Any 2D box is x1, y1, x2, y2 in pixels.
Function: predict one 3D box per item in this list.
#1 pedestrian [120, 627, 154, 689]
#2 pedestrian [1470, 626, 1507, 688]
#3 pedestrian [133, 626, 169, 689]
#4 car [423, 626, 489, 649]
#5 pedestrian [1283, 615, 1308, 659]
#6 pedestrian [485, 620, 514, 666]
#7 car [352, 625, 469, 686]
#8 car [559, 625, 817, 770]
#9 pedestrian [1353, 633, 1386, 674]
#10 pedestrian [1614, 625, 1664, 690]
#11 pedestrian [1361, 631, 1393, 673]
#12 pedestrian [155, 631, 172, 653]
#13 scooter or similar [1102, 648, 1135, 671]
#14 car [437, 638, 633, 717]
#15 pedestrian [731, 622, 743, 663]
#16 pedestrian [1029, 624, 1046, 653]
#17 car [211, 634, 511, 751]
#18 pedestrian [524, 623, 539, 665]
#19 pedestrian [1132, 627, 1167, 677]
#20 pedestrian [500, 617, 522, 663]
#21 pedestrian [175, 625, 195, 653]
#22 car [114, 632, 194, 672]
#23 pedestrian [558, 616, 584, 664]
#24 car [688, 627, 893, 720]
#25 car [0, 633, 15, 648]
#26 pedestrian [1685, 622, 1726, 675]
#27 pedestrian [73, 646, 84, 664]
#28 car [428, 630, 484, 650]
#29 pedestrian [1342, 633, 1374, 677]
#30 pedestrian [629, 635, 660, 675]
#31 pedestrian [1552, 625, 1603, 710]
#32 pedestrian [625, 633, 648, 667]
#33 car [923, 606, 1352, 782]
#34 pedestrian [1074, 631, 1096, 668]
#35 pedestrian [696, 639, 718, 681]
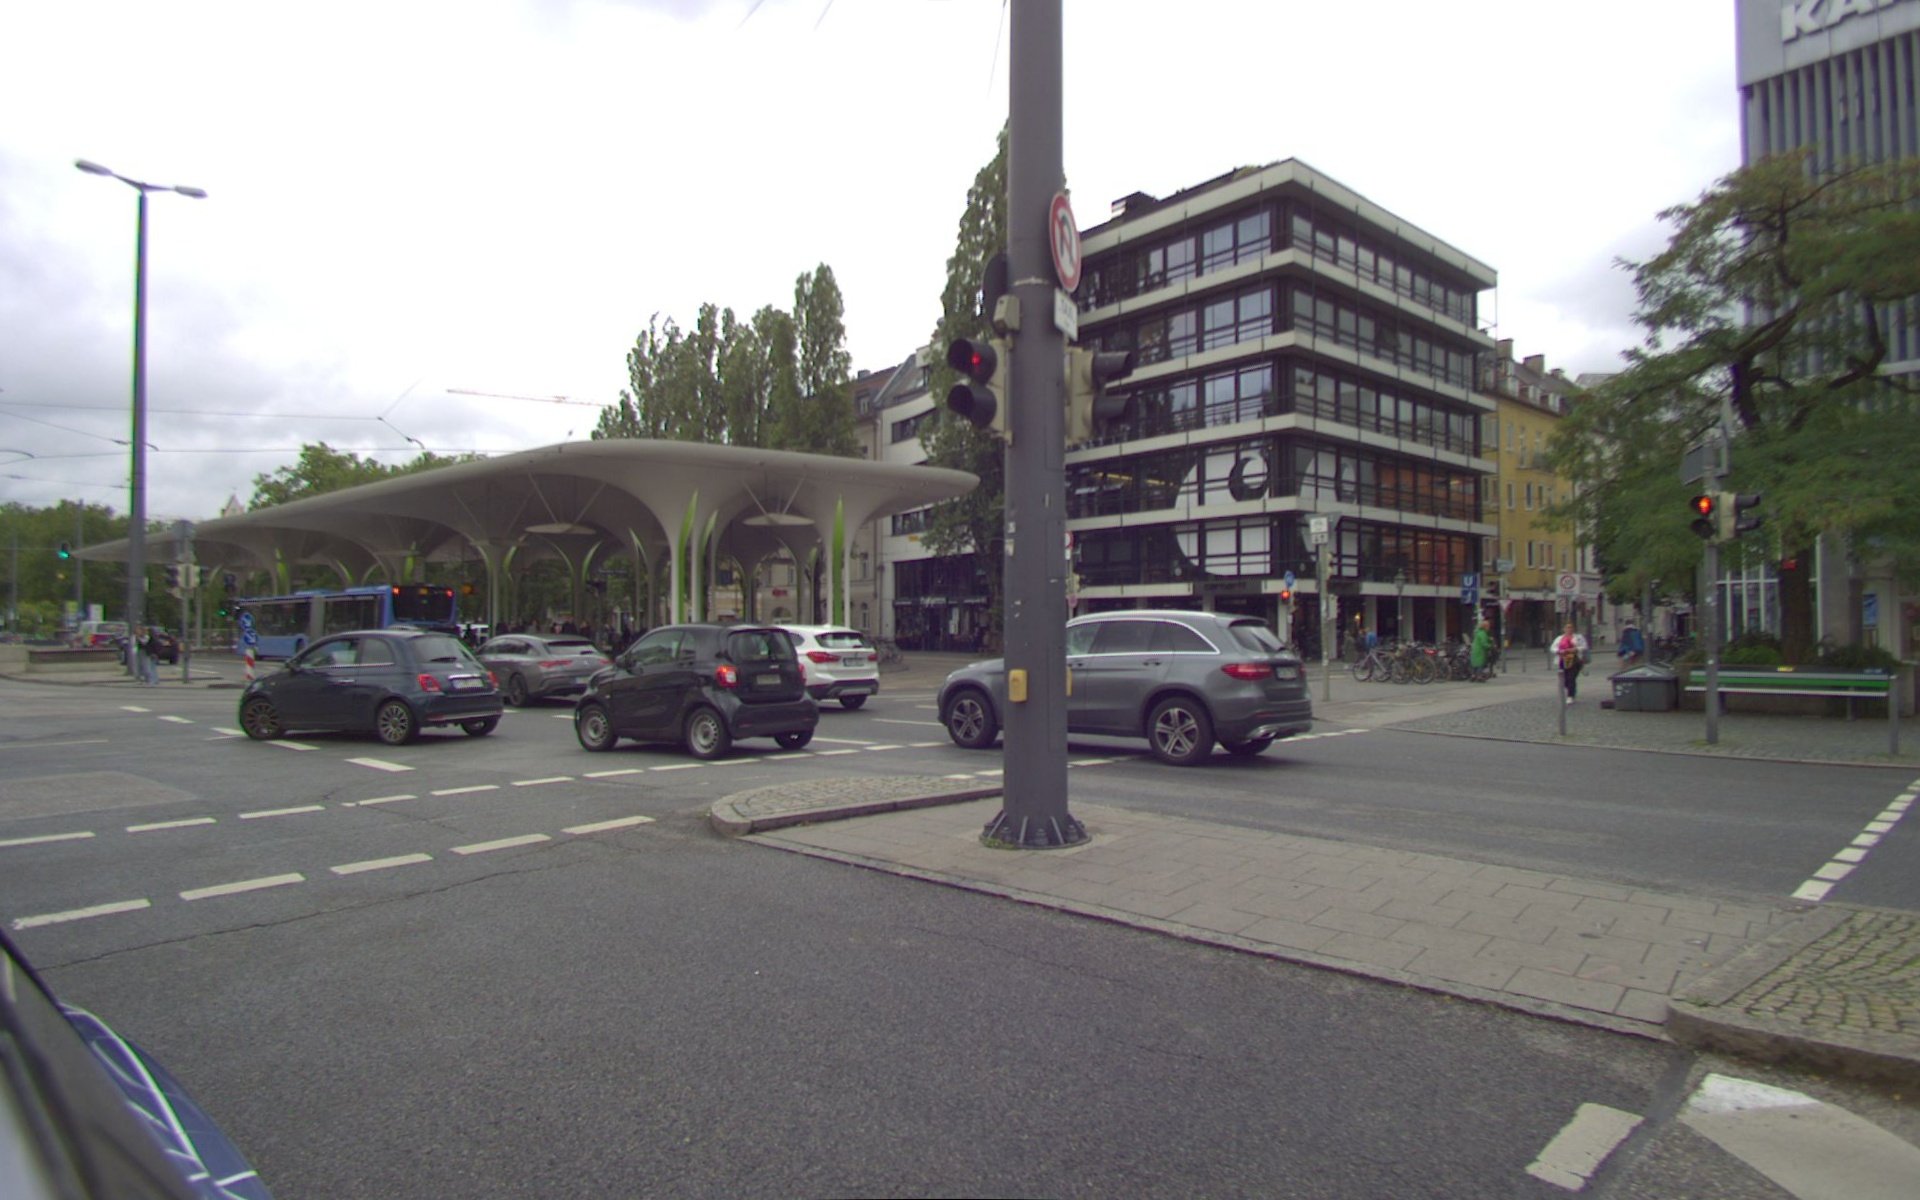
[{"bbox_3d":[-21.623,1.516,26.585,0.514,1.631,0.464,0,-2,-6],"label":"pedestrian"},{"bbox_3d":[14.168,1.515,27.149,0.805,1.631,0.834,-1,-2,26],"label":"pedestrian"},{"bbox_3d":[-21.218,1.503,26.552,0.551,1.631,0.486,-1,-2,6],"label":"pedestrian"},{"bbox_3d":[-44.123,3.286,88.634,4.852,1.962,1.874,1,-2,-39],"label":"car"},{"bbox_3d":[15.842,1.737,47.777,0.914,2.029,0.827,-1,-2,30],"label":"pedestrian"},{"bbox_3d":[-17.081,1.571,37.540,0.739,1.687,0.630,-1,-1,5],"label":"pedestrian"},{"bbox_3d":[-16.287,1.595,29.917,3.998,1.674,1.764,-2,-2,41],"label":"car"},{"bbox_3d":[-3.291,1.092,12.184,2.828,1.546,1.492,-2,-2,32],"label":"car"},{"bbox_3d":[16.088,2.094,39.784,0.730,1.600,0.951,1,-2,-38],"label":"pedestrian"},{"bbox_3d":[18.119,1.533,27.023,0.855,1.700,0.784,-1,-2,17],"label":"pedestrian"},{"bbox_3d":[16.691,2.071,40.525,0.789,1.666,0.854,1,-2,-38],"label":"pedestrian"},{"bbox_3d":[-61.190,3.228,77.786,0.737,1.641,0.734,-1,-2,20],"label":"pedestrian"},{"bbox_3d":[6.931,2.608,44.323,1.384,0.989,0.414,0,-2,1],"label":"scooter or similar"},{"bbox_3d":[-8.750,1.515,20.735,4.162,1.422,1.974,-2,-2,39],"label":"car"},{"bbox_3d":[-10.636,2.030,48.277,0.418,1.947,0.481,-1,-2,12],"label":"pedestrian"},{"bbox_3d":[4.249,2.096,55.302,0.585,1.604,0.674,1,-2,-39],"label":"pedestrian"},{"bbox_3d":[-8.158,1.213,13.849,3.507,1.457,1.542,-1,-3,16],"label":"car"},{"bbox_3d":[-16.468,1.688,38.876,0.511,1.600,0.482,0,-2,-19],"label":"pedestrian"},{"bbox_3d":[6.377,1.746,34.033,0.845,1.654,0.790,1,-2,-45],"label":"pedestrian"},{"bbox_3d":[-17.091,1.530,38.545,0.693,1.724,0.759,0,-2,-19],"label":"pedestrian"},{"bbox_3d":[-51.136,2.566,66.760,0.802,1.853,0.663,-1,-2,11],"label":"pedestrian"},{"bbox_3d":[-32.725,2.065,41.049,4.277,1.520,1.648,-2,-2,39],"label":"car"},{"bbox_3d":[-14.900,1.522,38.769,0.793,1.831,0.707,1,-2,-34],"label":"pedestrian"},{"bbox_3d":[-3.327,1.371,19.496,3.996,1.608,1.681,-2,-4,40],"label":"car"},{"bbox_3d":[-97.142,4.078,102.303,4.230,1.537,1.841,-2,-3,40],"label":"car"},{"bbox_3d":[24.042,1.540,32.630,0.789,1.666,0.854,1,-2,-38],"label":"pedestrian"},{"bbox_3d":[-77.855,4.823,89.395,0.588,1.570,0.624,-2,-3,39],"label":"pedestrian"},{"bbox_3d":[-42.629,3.342,85.607,3.938,1.628,1.833,1,-2,-42],"label":"car"},{"bbox_3d":[15.461,2.117,39.289,0.777,1.654,0.860,1,-2,-38],"label":"pedestrian"},{"bbox_3d":[-11.833,2.060,37.945,1.007,1.464,0.857,0,-2,-24],"label":"pedestrian"},{"bbox_3d":[11.857,1.269,19.431,0.720,1.586,0.631,-2,-2,40],"label":"pedestrian"},{"bbox_3d":[-15.499,2.381,48.502,0.801,1.623,0.791,1,-2,-43],"label":"pedestrian"},{"bbox_3d":[1.906,0.999,11.878,4.727,1.683,1.725,-2,-4,39],"label":"car"},{"bbox_3d":[6.361,2.501,51.411,0.710,1.814,0.829,1,-2,-40],"label":"pedestrian"},{"bbox_3d":[-9.885,2.342,39.551,0.624,1.623,0.589,-2,-2,44],"label":"pedestrian"}]
